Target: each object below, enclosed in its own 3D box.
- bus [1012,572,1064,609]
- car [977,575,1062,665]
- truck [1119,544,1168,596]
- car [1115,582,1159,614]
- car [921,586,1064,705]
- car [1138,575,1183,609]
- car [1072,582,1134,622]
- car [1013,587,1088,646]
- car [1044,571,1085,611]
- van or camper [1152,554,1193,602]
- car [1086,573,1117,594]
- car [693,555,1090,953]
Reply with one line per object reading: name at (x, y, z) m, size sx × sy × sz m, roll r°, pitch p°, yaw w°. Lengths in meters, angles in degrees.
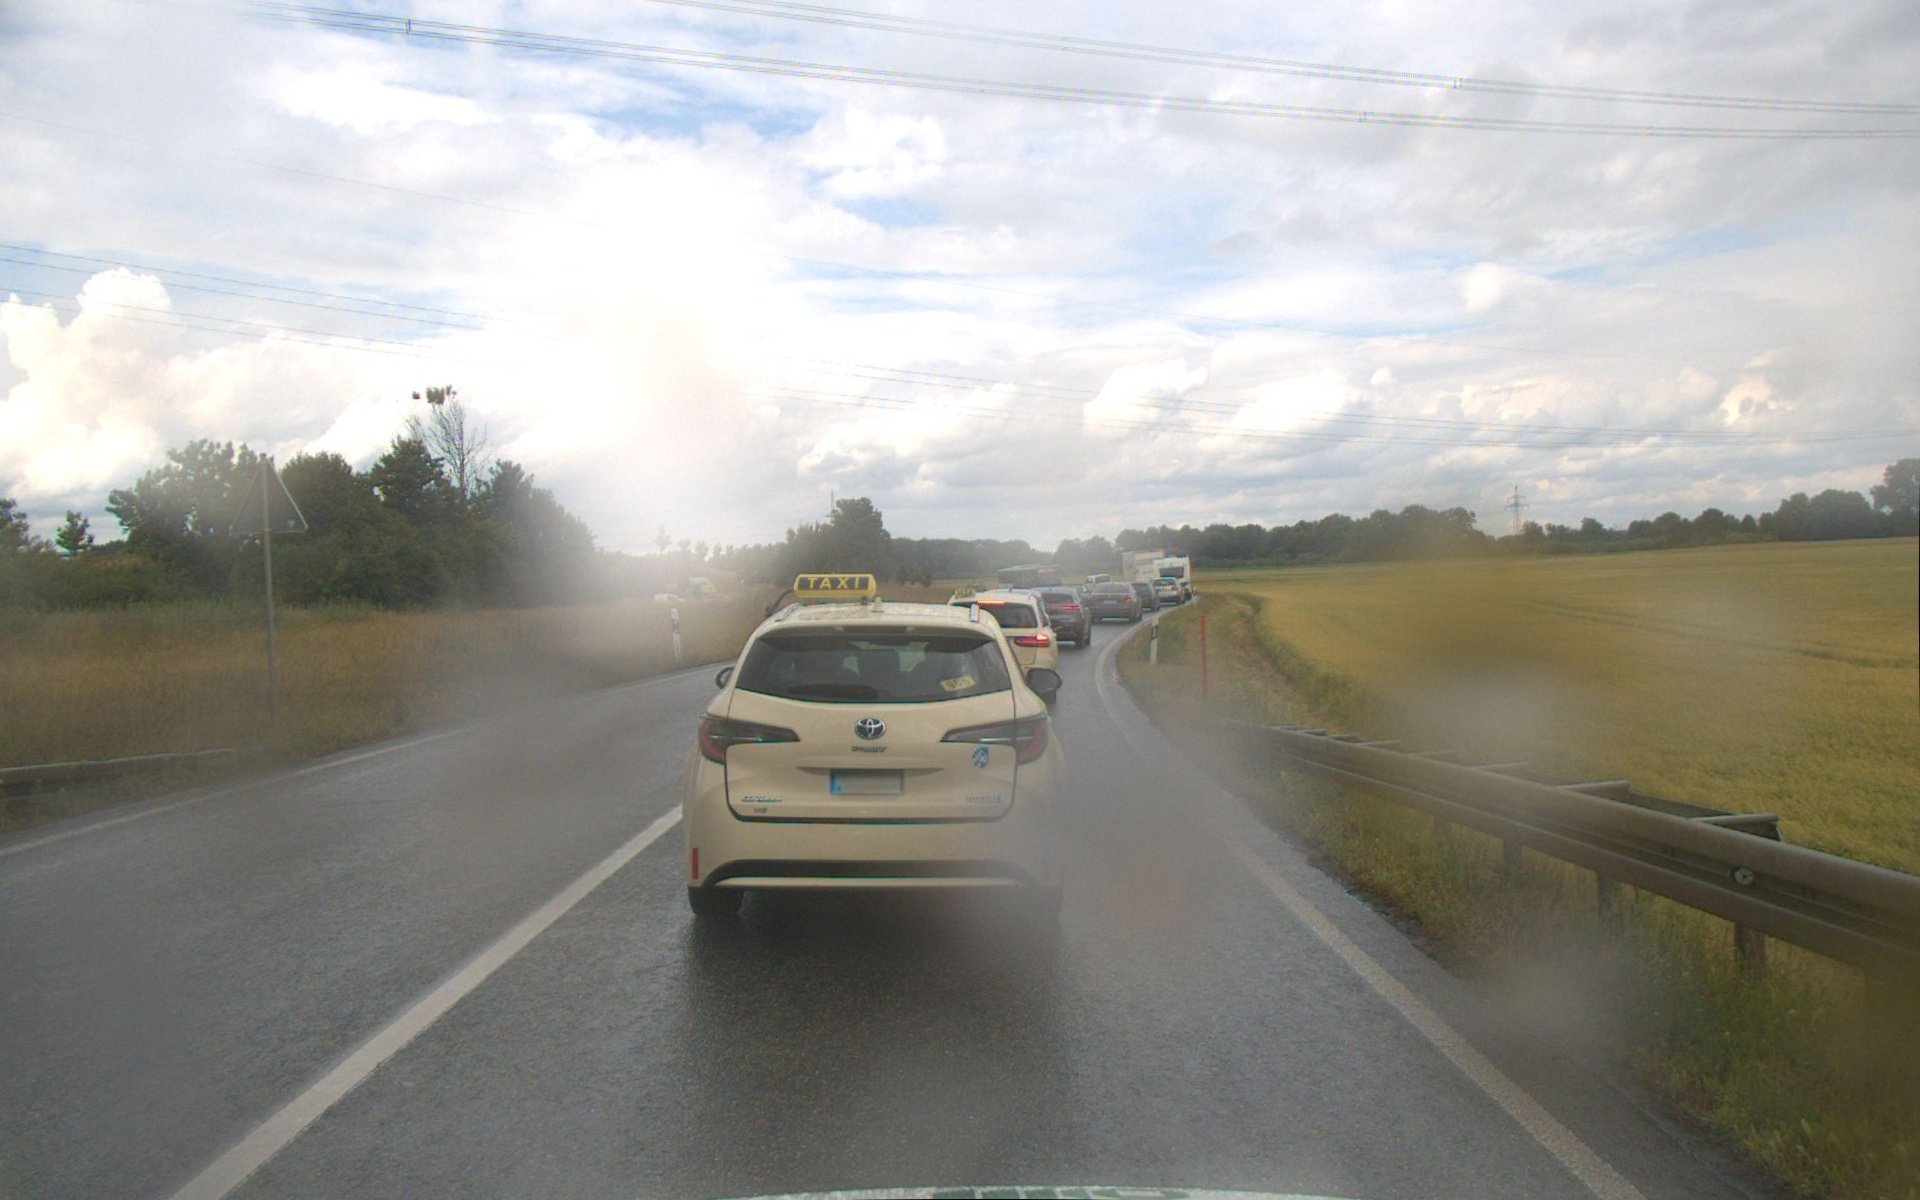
bus at (7.327, -0.914, 157.496) m, size 2.706 × 3.355 × 12.480 m, roll 0°, pitch 1°, yaw -8°
car at (1.238, 0.390, 33.301) m, size 1.579 × 1.688 × 3.740 m, roll 1°, pitch 0°, yaw 4°
truck at (14.626, -2.354, 132.261) m, size 3.062 × 3.920 × 7.386 m, roll 1°, pitch 0°, yaw 0°
car at (8.471, -0.088, 78.835) m, size 1.786 × 1.438 × 3.741 m, roll 1°, pitch 0°, yaw 11°
car at (0.570, 0.569, 23.764) m, size 1.802 × 1.518 × 4.611 m, roll 1°, pitch 1°, yaw 4°
car at (10.873, -0.423, 89.477) m, size 1.918 × 1.759 × 3.741 m, roll 1°, pitch 0°, yaw 14°
car at (5.509, 0.093, 63.295) m, size 1.918 × 1.438 × 4.396 m, roll 1°, pitch 0°, yaw 11°
car at (2.378, 0.414, 42.712) m, size 1.578 × 1.438 × 3.741 m, roll 1°, pitch 0°, yaw 8°
car at (5.381, -0.432, 84.665) m, size 1.866 × 1.982 × 4.145 m, roll 1°, pitch 0°, yaw 7°
van or camper at (13.432, -1.399, 104.397) m, size 2.482 × 2.946 × 6.749 m, roll 0°, pitch 1°, yaw 8°
car at (12.922, -1.522, 151.321) m, size 1.848 × 1.804 × 4.150 m, roll 1°, pitch 0°, yaw -9°
car at (-0.357, 0.637, 8.533) m, size 1.580 × 1.589 × 3.736 m, roll 1°, pitch 0°, yaw -3°
